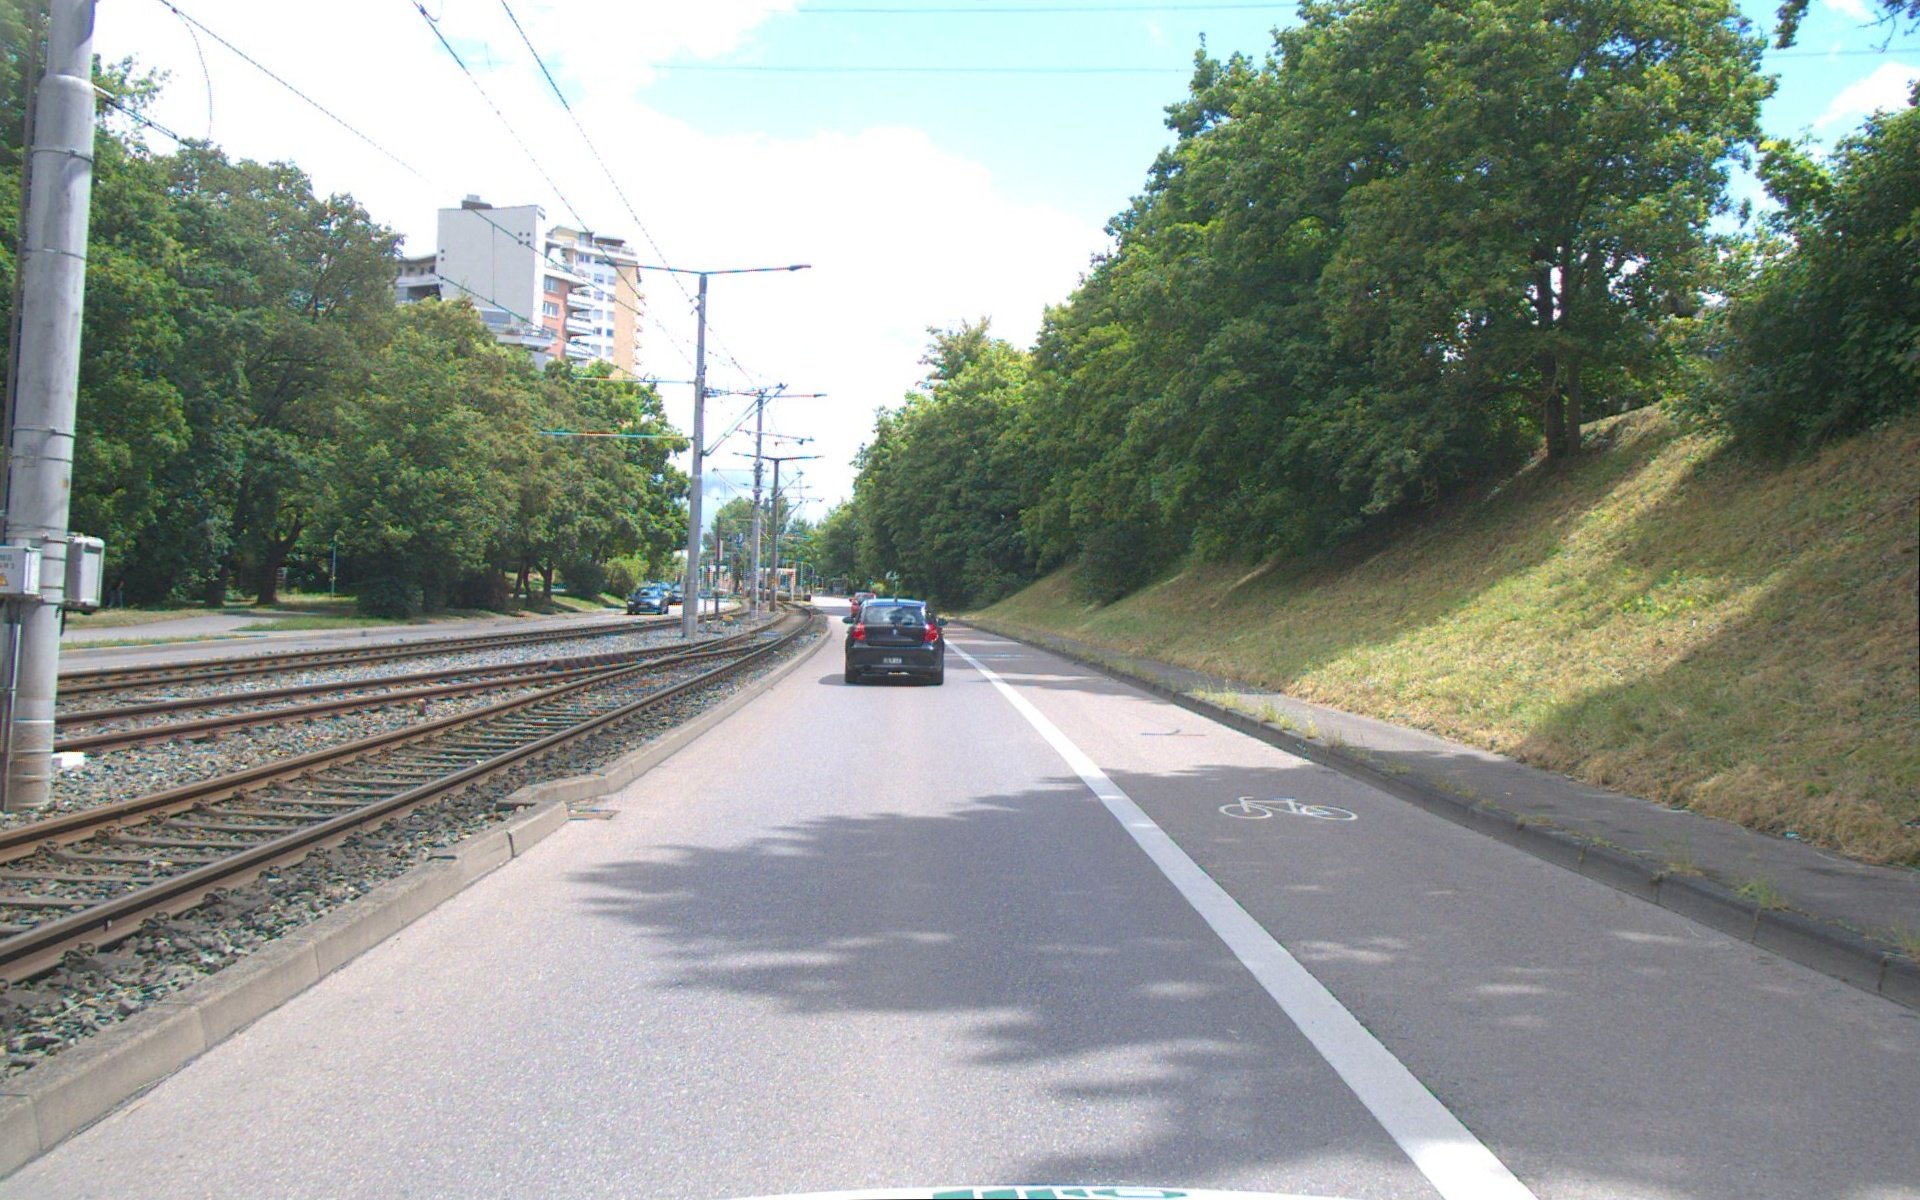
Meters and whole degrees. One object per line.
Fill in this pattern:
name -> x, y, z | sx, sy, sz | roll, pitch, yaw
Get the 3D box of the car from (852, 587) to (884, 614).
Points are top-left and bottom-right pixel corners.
car -> -5.499, 0.027, 98.512 | 1.746, 1.485, 3.917 | 1, 0, -5

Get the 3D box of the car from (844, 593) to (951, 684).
car -> -1.153, 0.628, 29.084 | 1.746, 1.485, 3.918 | 0, 0, -4

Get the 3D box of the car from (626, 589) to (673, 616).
car -> -16.911, 0.139, 90.188 | 1.799, 1.415, 4.860 | -1, 0, -2

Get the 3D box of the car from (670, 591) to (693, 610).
car -> -23.600, 0.014, 140.224 | 1.741, 1.525, 3.990 | 1, 0, -8
